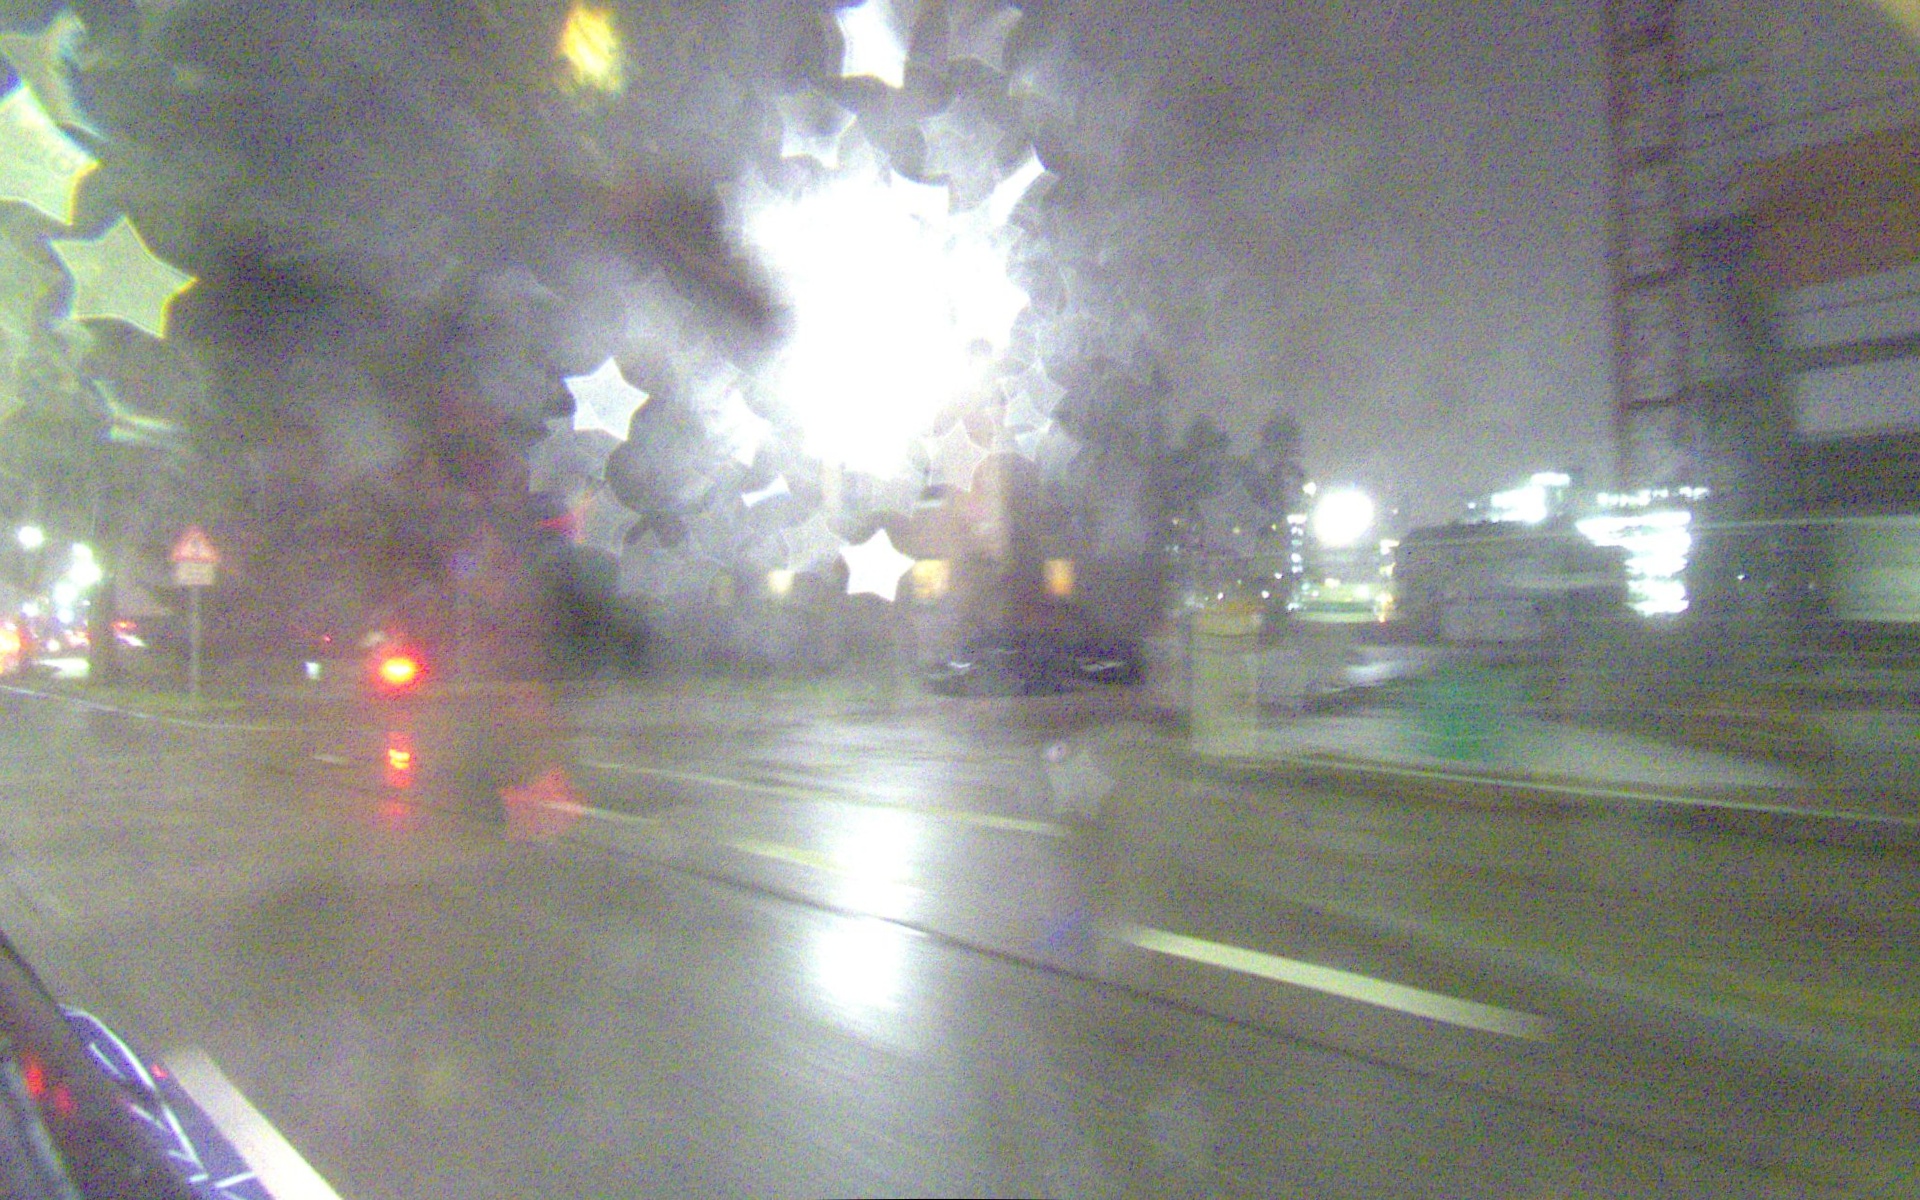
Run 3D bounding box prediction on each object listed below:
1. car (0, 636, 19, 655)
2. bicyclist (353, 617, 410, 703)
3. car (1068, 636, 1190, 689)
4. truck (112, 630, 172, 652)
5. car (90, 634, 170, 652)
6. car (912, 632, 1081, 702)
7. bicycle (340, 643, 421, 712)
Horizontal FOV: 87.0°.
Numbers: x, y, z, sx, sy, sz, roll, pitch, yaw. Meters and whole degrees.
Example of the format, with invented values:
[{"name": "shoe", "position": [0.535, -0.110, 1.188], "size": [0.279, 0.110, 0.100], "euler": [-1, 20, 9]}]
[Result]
[{"name": "car", "position": [-80.435, 3.800, 84.874], "size": [1.969, 1.466, 4.309], "euler": [6, -5, -41]}, {"name": "bicyclist", "position": [-11.221, 1.161, 19.629], "size": [0.959, 1.607, 0.630], "euler": [-5, -3, 40]}, {"name": "car", "position": [4.687, 1.651, 27.711], "size": [1.494, 1.268, 3.814], "euler": [2, 0, 41]}, {"name": "truck", "position": [-92.536, 4.607, 114.652], "size": [2.283, 2.415, 7.835], "euler": [0, -2, -16]}, {"name": "car", "position": [-88.533, 4.529, 108.044], "size": [1.988, 1.830, 6.389], "euler": [-1, -2, 24]}, {"name": "car", "position": [0.910, 1.488, 23.333], "size": [4.028, 1.381, 1.495], "euler": [2, 1, -45]}, {"name": "bicycle", "position": [-11.268, 1.475, 19.651], "size": [2.312, 1.169, 0.623], "euler": [0, 1, 40]}]
